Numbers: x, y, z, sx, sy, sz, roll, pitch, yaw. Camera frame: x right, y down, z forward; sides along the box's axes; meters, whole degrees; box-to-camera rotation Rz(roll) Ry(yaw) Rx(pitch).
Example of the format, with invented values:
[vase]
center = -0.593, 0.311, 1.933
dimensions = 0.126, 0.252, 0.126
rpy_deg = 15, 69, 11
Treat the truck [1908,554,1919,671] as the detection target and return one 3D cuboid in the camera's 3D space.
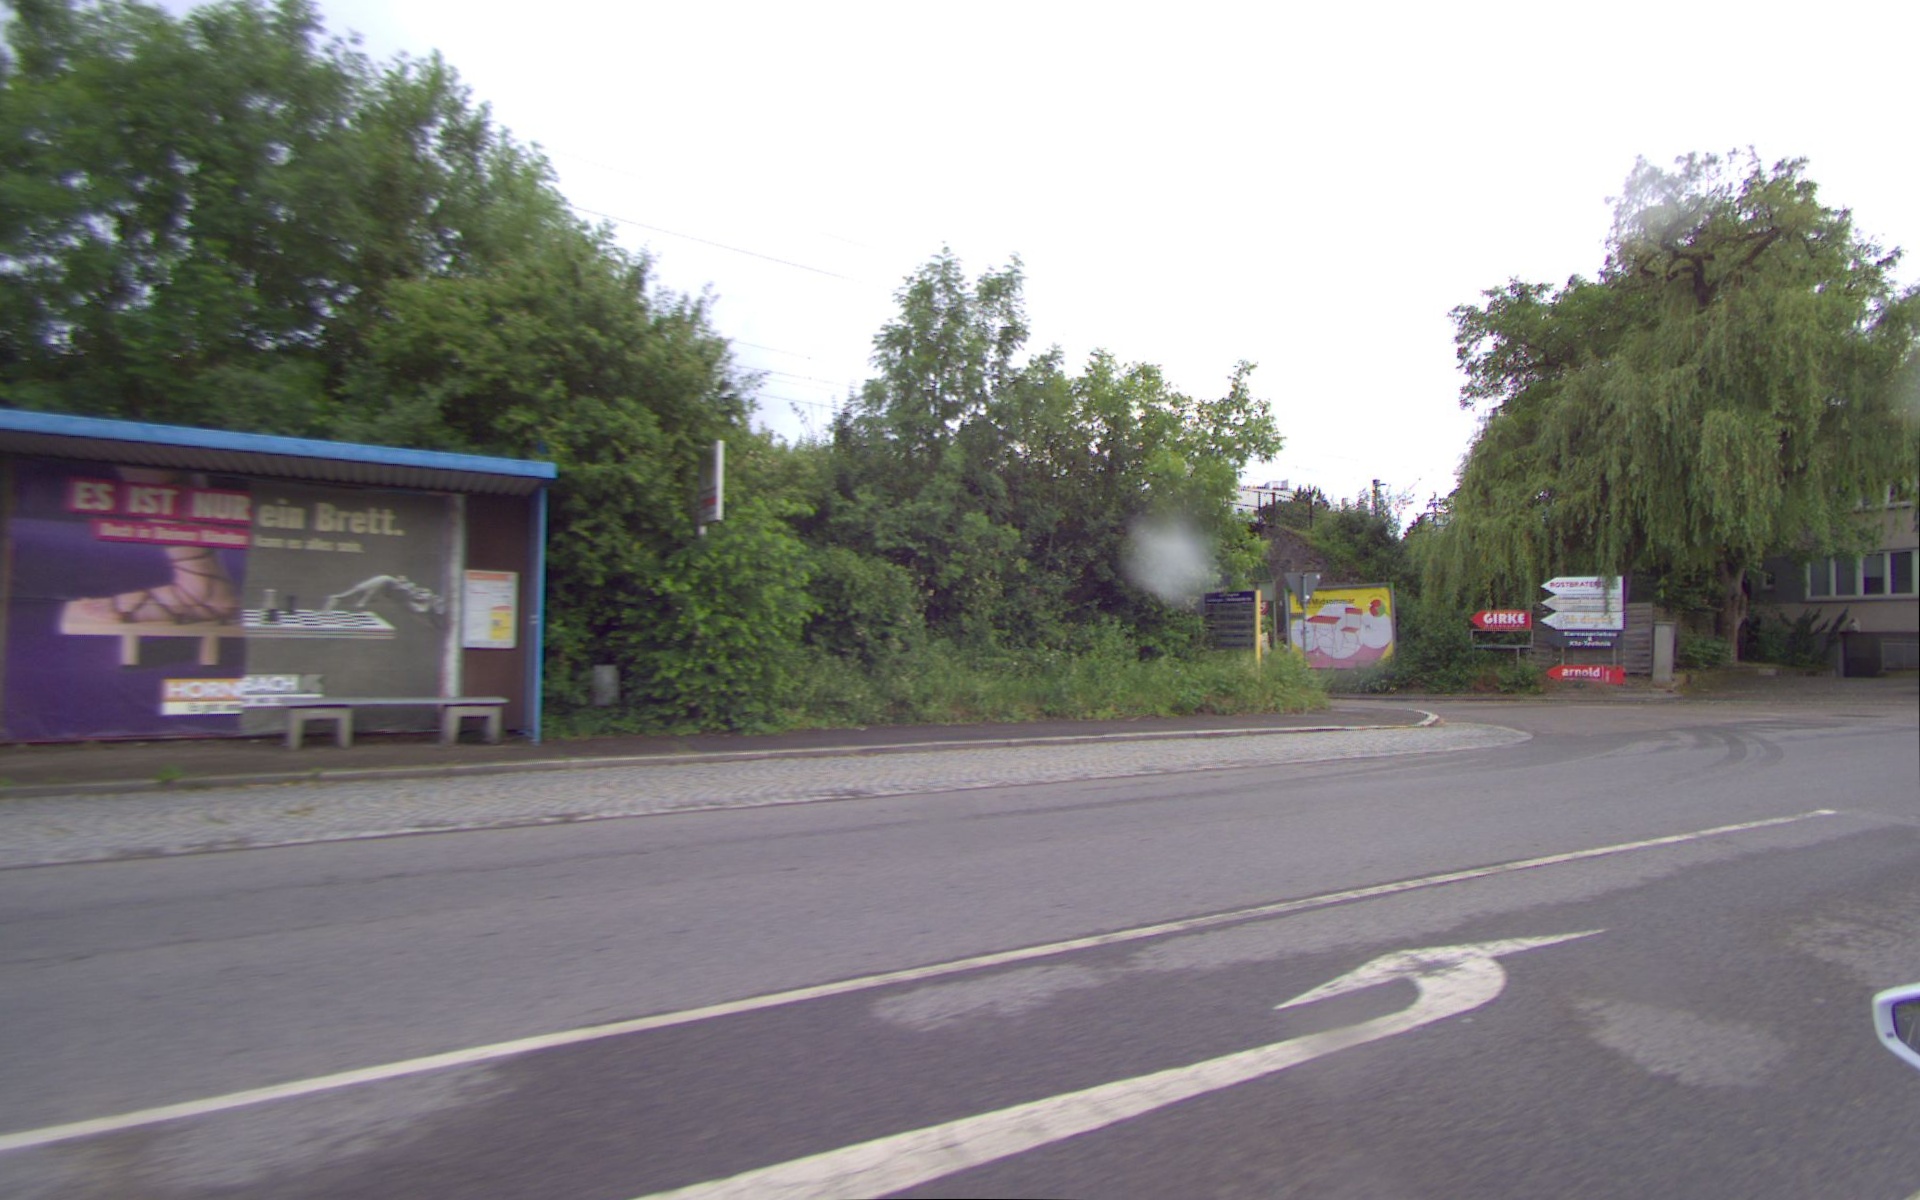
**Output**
[truck]
center = 32.776, 0.614, 29.851
dimensions = 8.930, 3.456, 2.695
rpy_deg = 3, 0, -18
